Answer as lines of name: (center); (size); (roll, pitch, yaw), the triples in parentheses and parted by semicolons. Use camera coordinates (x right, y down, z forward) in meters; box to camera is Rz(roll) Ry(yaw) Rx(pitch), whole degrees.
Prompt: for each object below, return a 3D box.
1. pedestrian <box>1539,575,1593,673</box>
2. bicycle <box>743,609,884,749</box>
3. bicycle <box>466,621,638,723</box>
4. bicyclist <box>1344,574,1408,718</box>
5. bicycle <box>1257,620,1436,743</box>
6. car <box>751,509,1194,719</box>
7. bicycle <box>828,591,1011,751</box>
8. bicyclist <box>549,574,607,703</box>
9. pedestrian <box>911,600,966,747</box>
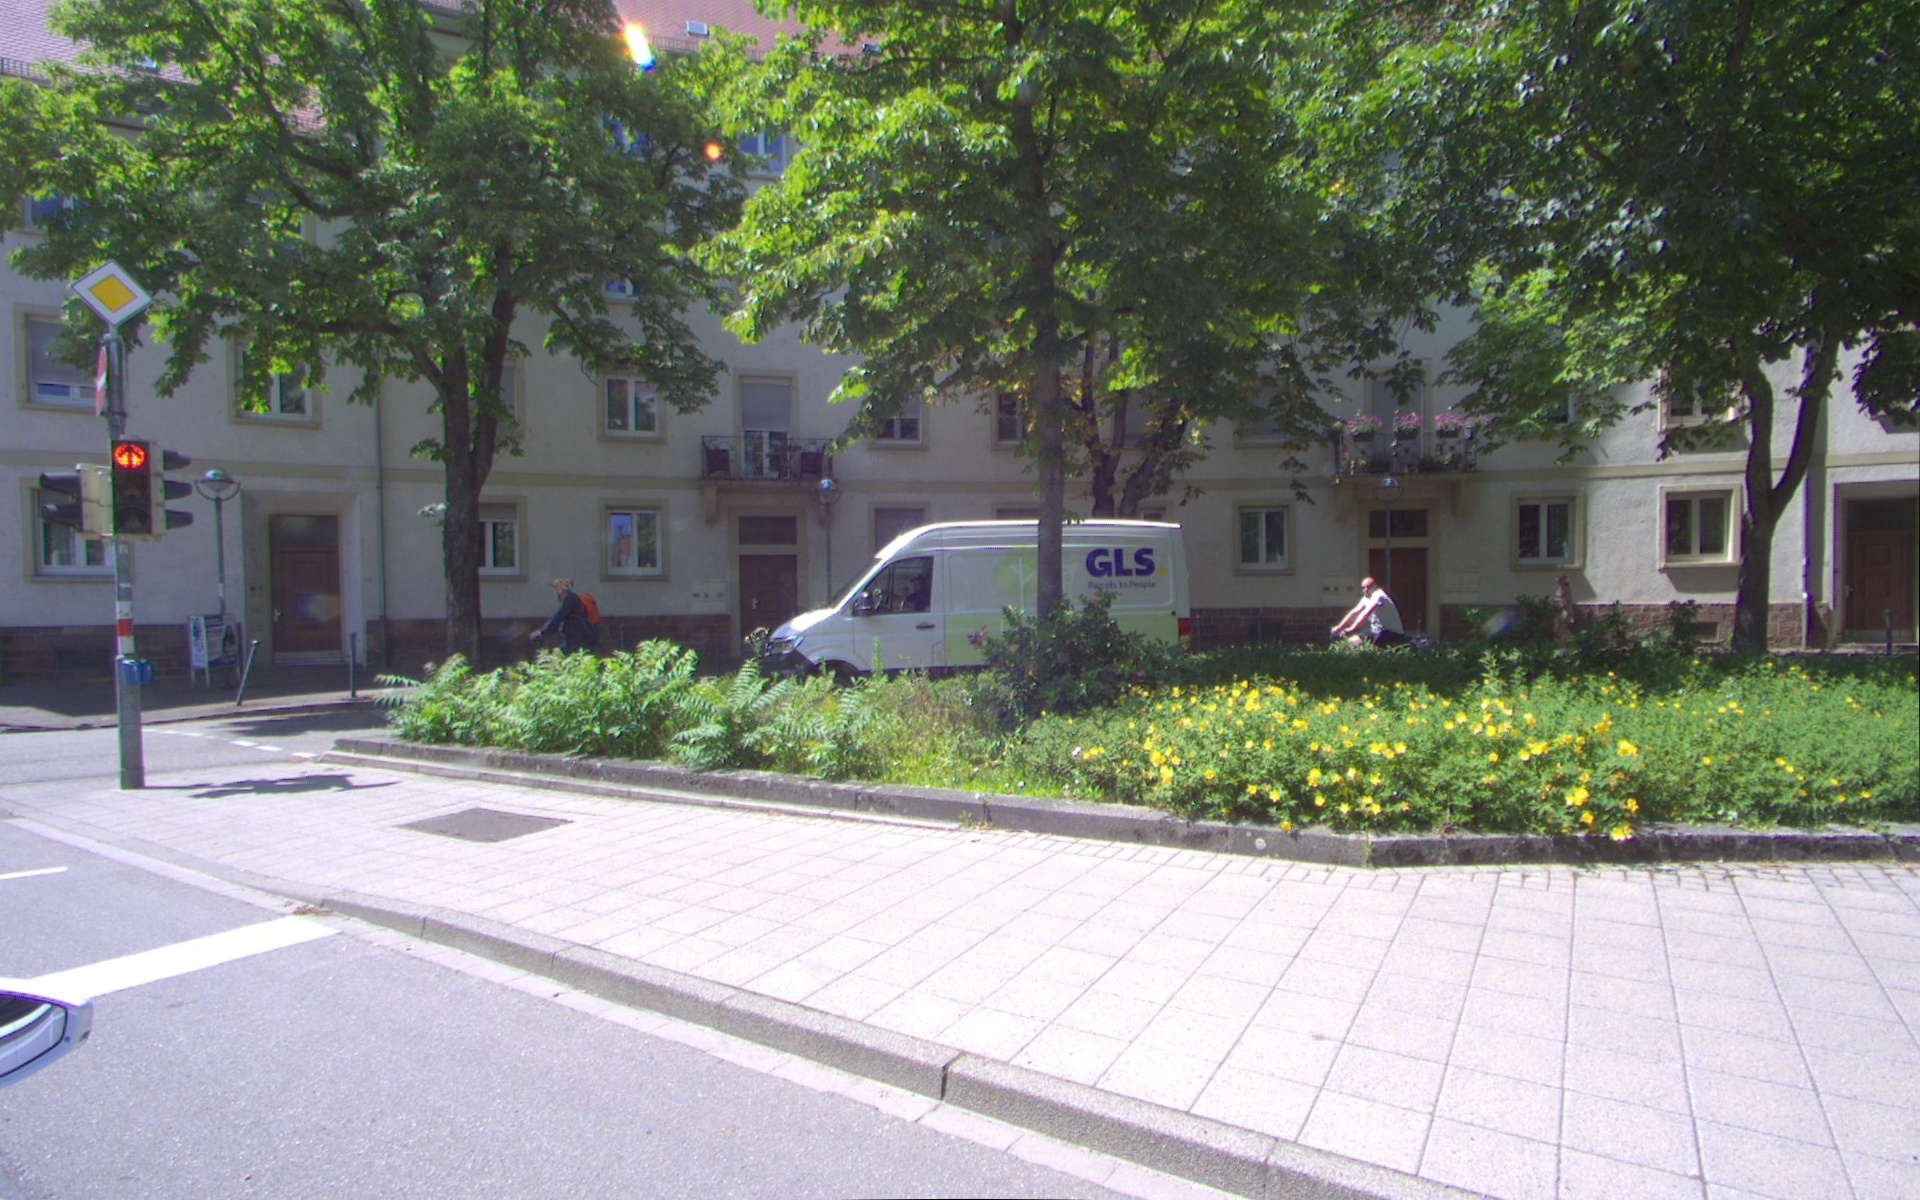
pedestrian: (12.940, 0.516, 21.406); (0.759, 2.040, 0.807); (0, 0, 14)
bicycle: (-1.282, 0.675, 8.650); (1.269, 1.141, 0.332); (-2, -1, 32)
bicycle: (-5.365, 0.918, 13.237); (2.054, 1.253, 0.578); (0, 0, -25)
bicyclist: (5.366, 0.583, 12.947); (0.524, 1.823, 0.603); (0, 0, -6)
bicycle: (4.968, 1.024, 12.897); (2.126, 1.505, 0.593); (0, 0, -8)
car: (0.128, 0.155, 13.875); (5.738, 2.624, 1.999); (0, 1, -7)
bicycle: (-0.407, 0.625, 9.268); (1.809, 1.377, 0.351); (-1, 0, 33)
bicyclist: (-5.105, 0.504, 13.363); (0.684, 1.667, 0.578); (0, 0, -24)
pedestrian: (-0.195, 0.657, 9.139); (0.345, 1.301, 0.365); (0, 0, 32)
